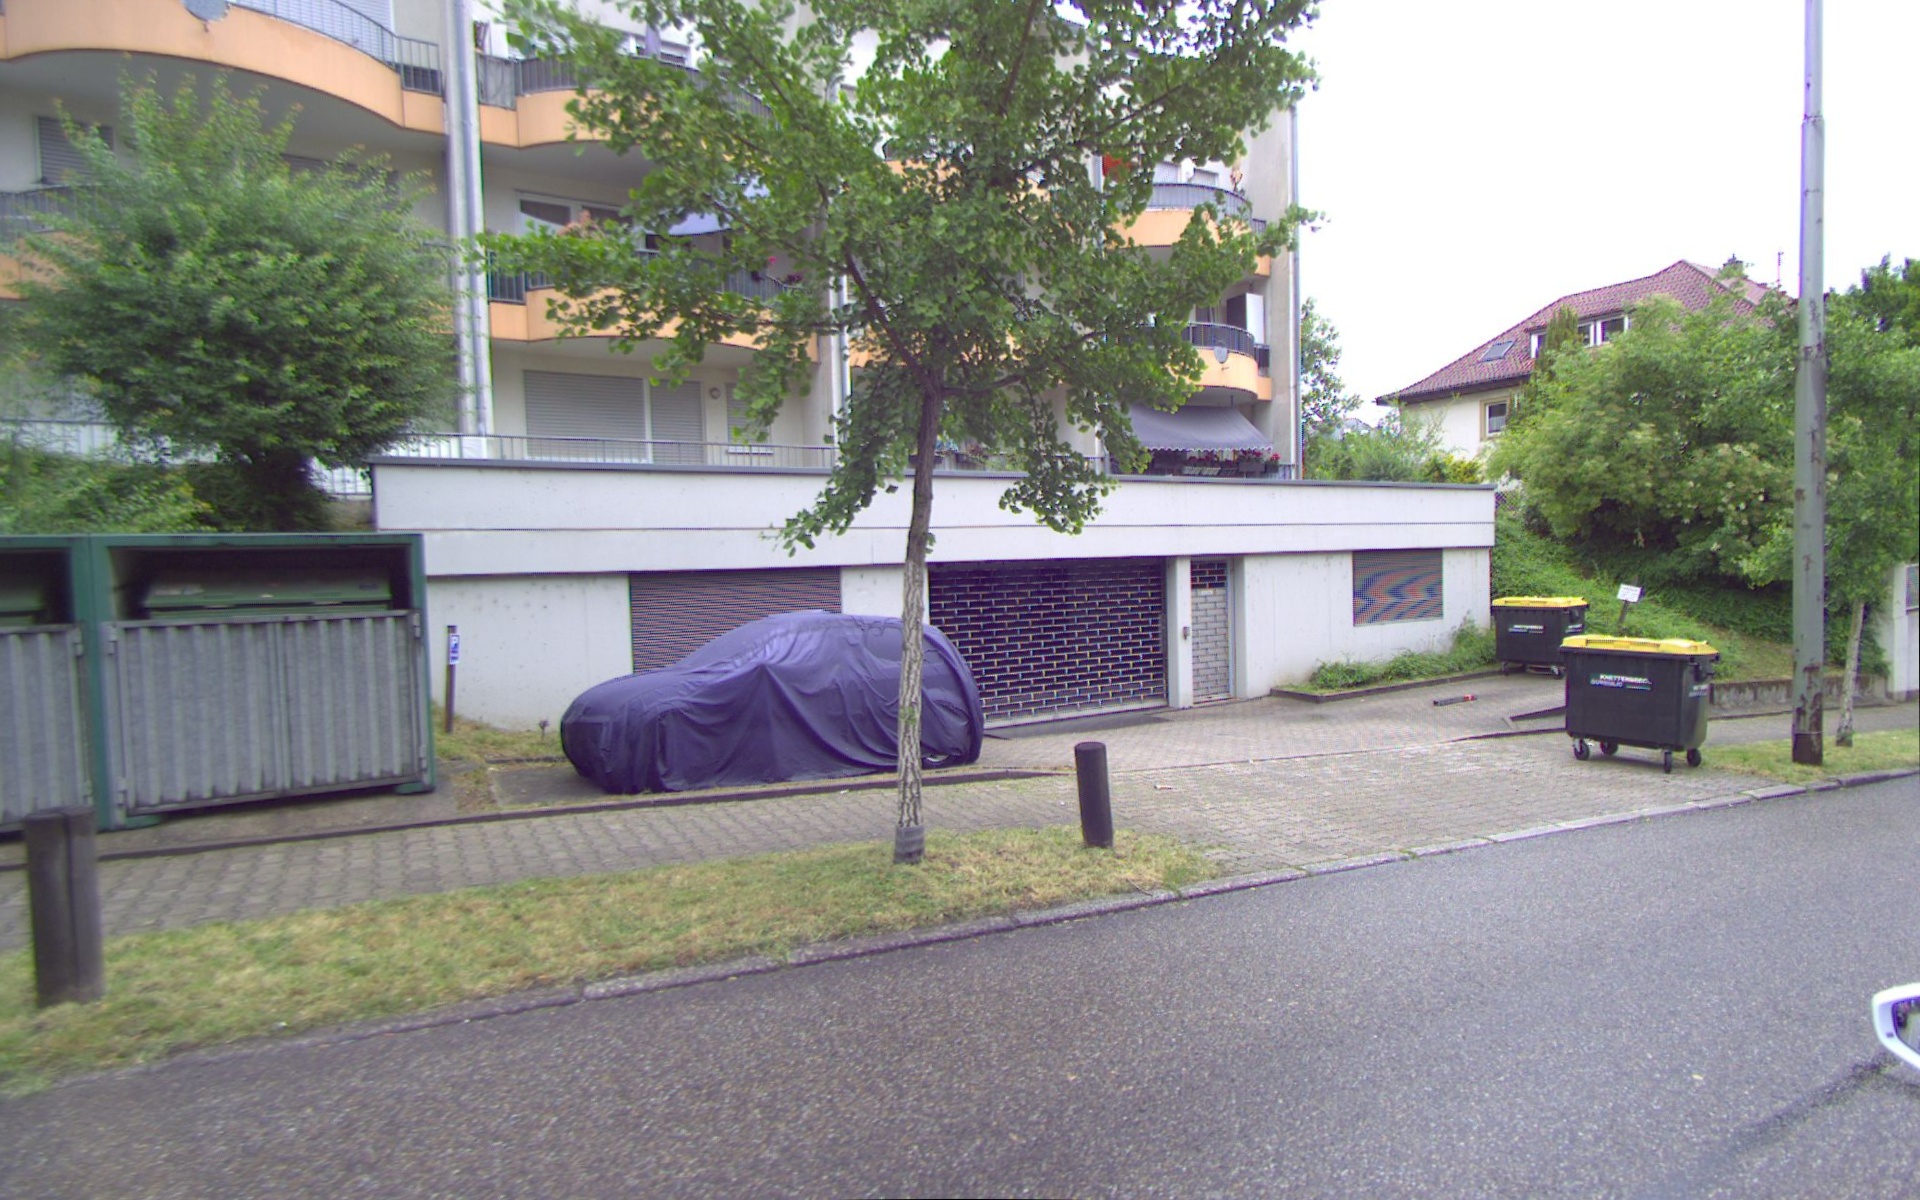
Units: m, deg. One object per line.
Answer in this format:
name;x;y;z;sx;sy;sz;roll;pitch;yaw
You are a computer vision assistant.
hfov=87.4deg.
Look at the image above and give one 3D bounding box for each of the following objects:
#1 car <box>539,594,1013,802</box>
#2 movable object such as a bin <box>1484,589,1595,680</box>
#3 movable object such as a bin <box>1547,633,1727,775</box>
car;-1.679;0.840;9.485;4.050;1.581;1.770;1;-4;-31
movable object such as a bin;9.959;0.557;17.276;1.215;1.383;1.288;-7;5;-36
movable object such as a bin;7.224;1.049;10.744;1.145;1.324;1.288;0;1;-38
